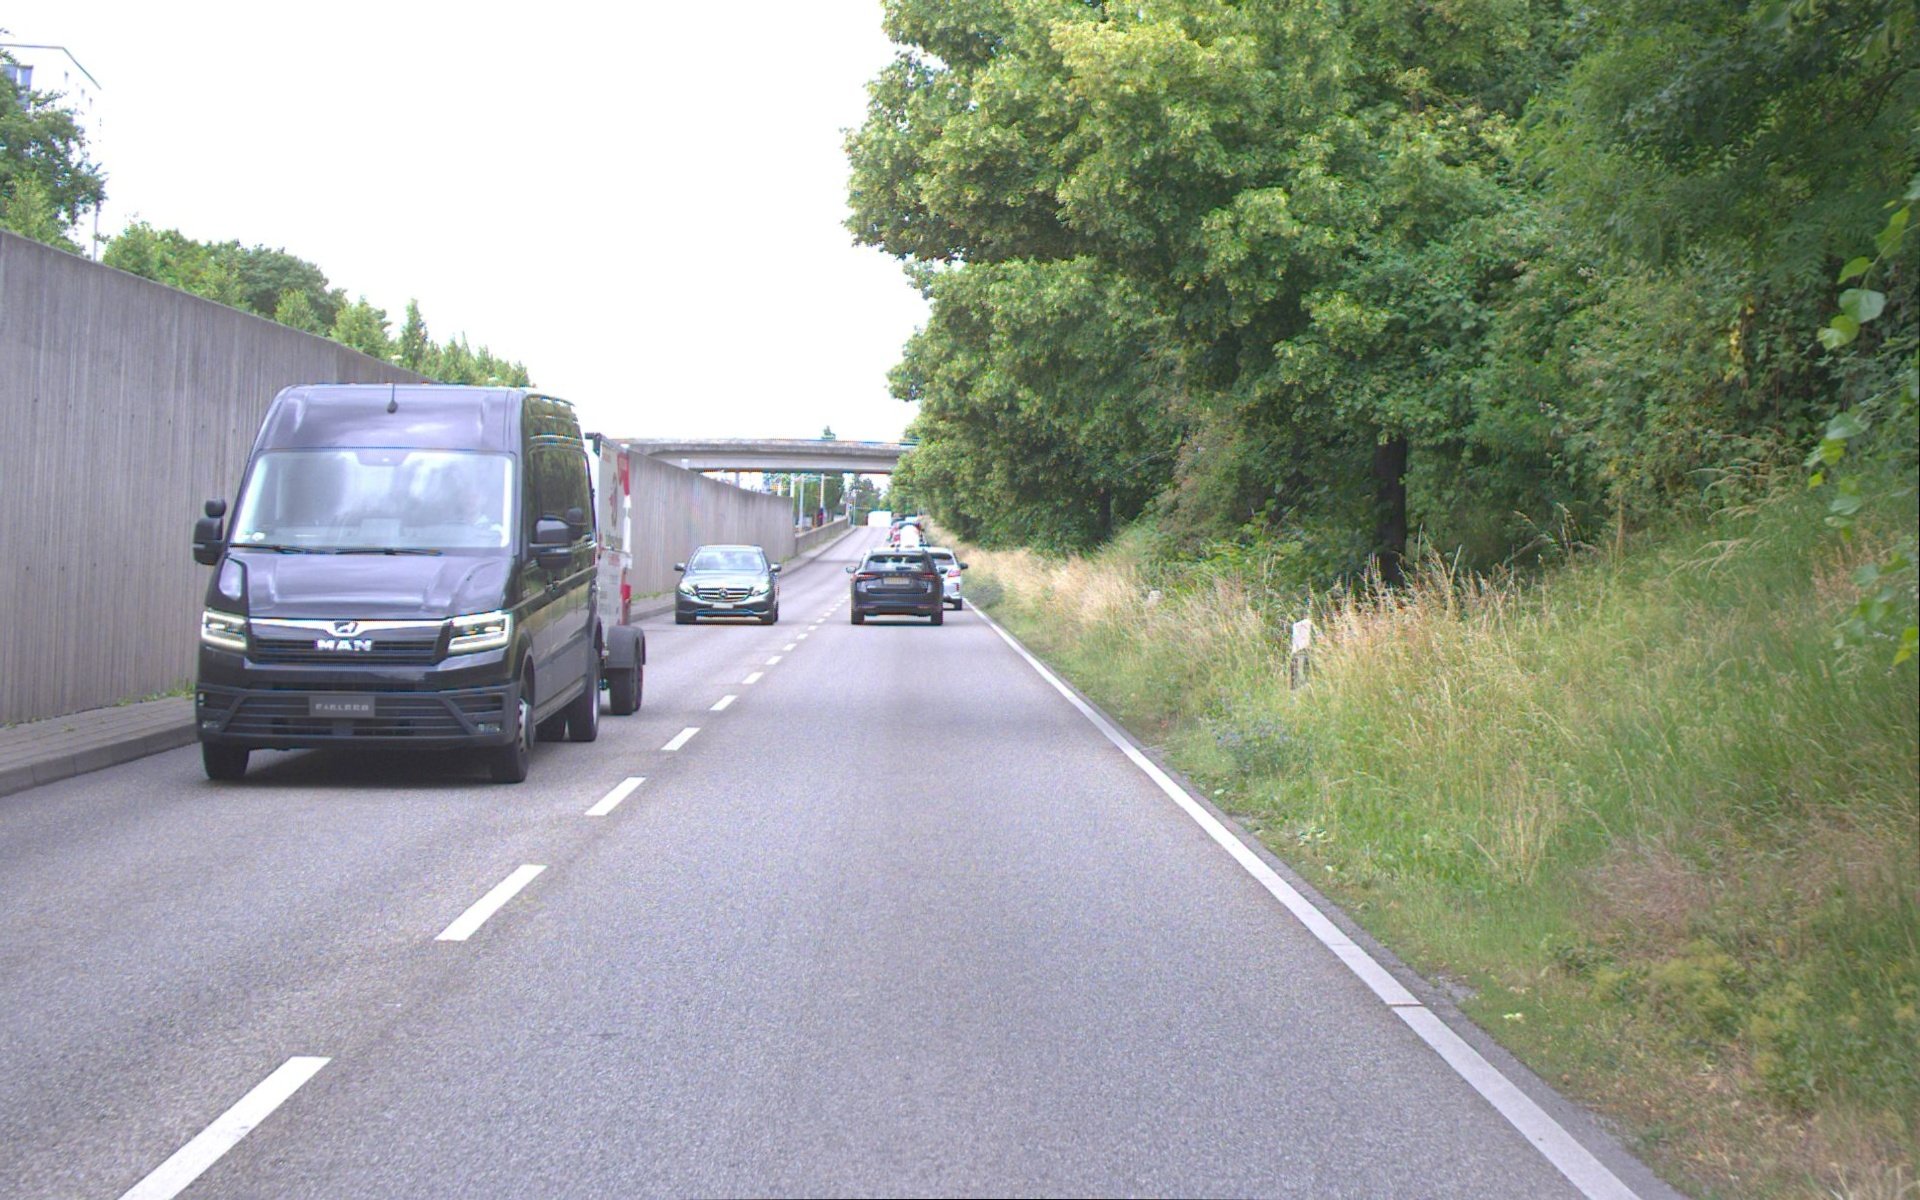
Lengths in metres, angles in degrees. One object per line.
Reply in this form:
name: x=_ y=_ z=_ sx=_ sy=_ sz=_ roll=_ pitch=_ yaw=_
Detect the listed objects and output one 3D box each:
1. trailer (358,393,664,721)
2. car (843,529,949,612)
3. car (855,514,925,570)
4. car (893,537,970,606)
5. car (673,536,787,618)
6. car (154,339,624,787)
trailer: x=-3.814 y=-0.379 z=29.910 sx=2.109 sy=2.621 sz=4.372 roll=1 pitch=1 yaw=-1
car: x=-1.264 y=-0.540 z=66.128 sx=1.754 sy=1.518 sz=4.037 roll=-1 pitch=0 yaw=-5
car: x=-2.102 y=-1.718 z=102.394 sx=1.866 sy=1.485 sz=4.257 roll=4 pitch=1 yaw=-3
car: x=-0.664 y=-0.676 z=82.628 sx=1.754 sy=1.518 sz=4.036 roll=-1 pitch=-1 yaw=1
car: x=-4.357 y=-0.465 z=65.757 sx=1.892 sy=1.478 sz=4.823 roll=1 pitch=1 yaw=-1
car: x=-3.735 y=-0.276 z=24.021 sx=2.109 sy=2.621 sz=7.417 roll=1 pitch=1 yaw=-1
